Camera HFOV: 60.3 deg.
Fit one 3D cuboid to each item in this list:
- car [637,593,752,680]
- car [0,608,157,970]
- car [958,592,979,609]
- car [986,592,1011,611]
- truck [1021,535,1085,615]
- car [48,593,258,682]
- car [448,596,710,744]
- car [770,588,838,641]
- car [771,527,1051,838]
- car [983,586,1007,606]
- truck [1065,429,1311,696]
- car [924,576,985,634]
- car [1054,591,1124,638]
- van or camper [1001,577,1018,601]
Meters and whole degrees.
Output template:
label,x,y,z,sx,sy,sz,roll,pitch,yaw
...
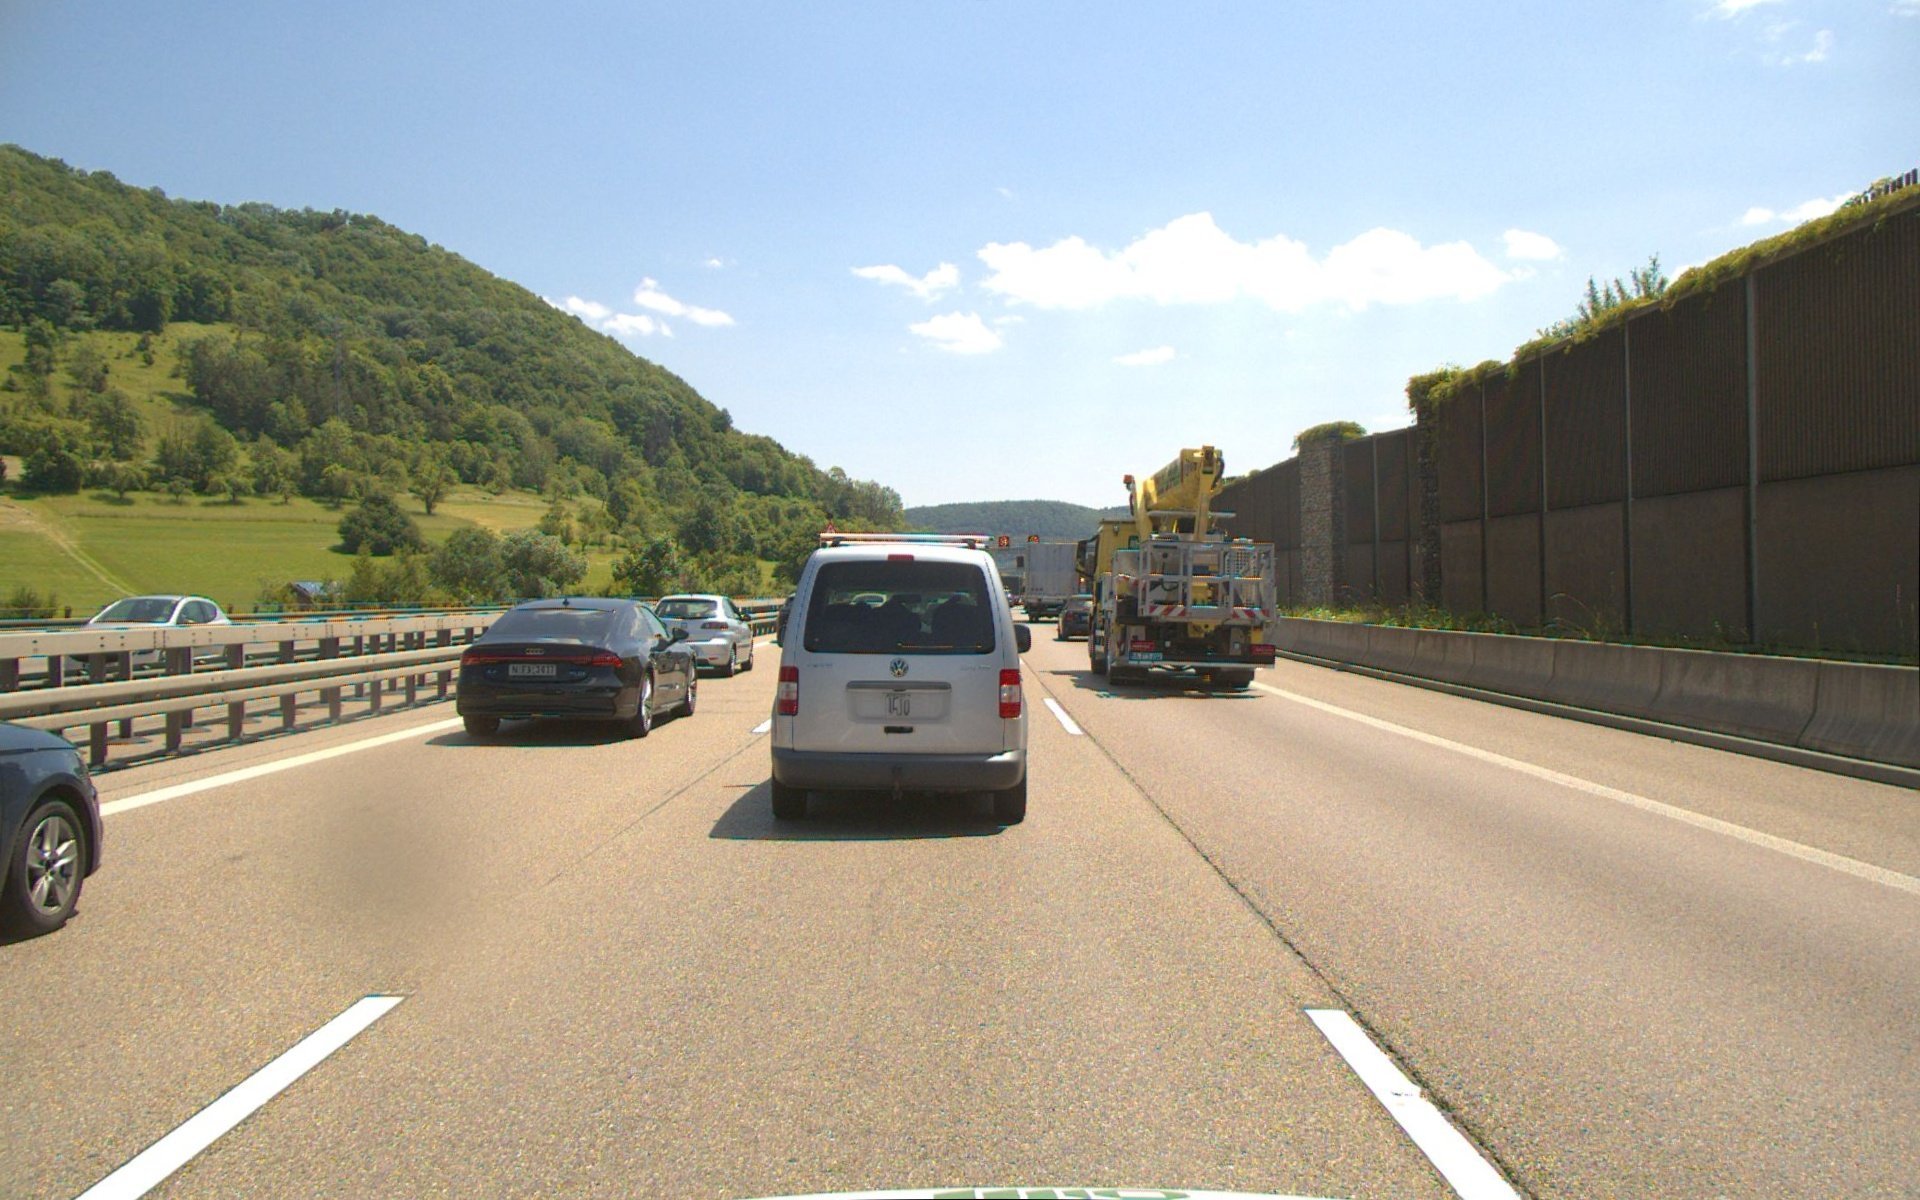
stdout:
label,x,y,z,sx,sy,sz,roll,pitch,yaw
car,-4.772,0.612,30.154,1.662,1.470,3.859,0,0,-3
car,-4.603,0.757,5.781,1.654,1.413,4.000,0,0,0
car,0.966,0.080,184.130,2.072,1.859,3.997,1,0,-4
car,3.820,0.141,164.331,2.072,1.859,3.997,1,0,-4
truck,4.720,-1.202,85.546,2.880,3.890,8.236,1,0,0
car,-14.887,0.647,30.773,1.953,1.523,3.999,1,0,-1
car,-4.043,0.666,18.402,1.764,1.415,4.969,0,0,0
car,-4.619,0.407,49.442,1.887,1.525,3.997,1,0,-4
car,-0.418,0.495,12.194,1.721,1.900,3.997,0,0,-4
car,3.026,-0.336,144.795,1.953,1.779,3.999,1,0,-1
truck,3.735,-0.588,29.349,2.650,4.011,8.715,0,0,-4
car,-0.227,0.163,59.223,1.954,2.010,3.997,0,0,-4
car,4.181,0.457,54.014,1.751,1.484,3.768,0,0,-4
van or camper,6.356,-1.435,214.470,1.953,3.005,5.422,1,0,-1
